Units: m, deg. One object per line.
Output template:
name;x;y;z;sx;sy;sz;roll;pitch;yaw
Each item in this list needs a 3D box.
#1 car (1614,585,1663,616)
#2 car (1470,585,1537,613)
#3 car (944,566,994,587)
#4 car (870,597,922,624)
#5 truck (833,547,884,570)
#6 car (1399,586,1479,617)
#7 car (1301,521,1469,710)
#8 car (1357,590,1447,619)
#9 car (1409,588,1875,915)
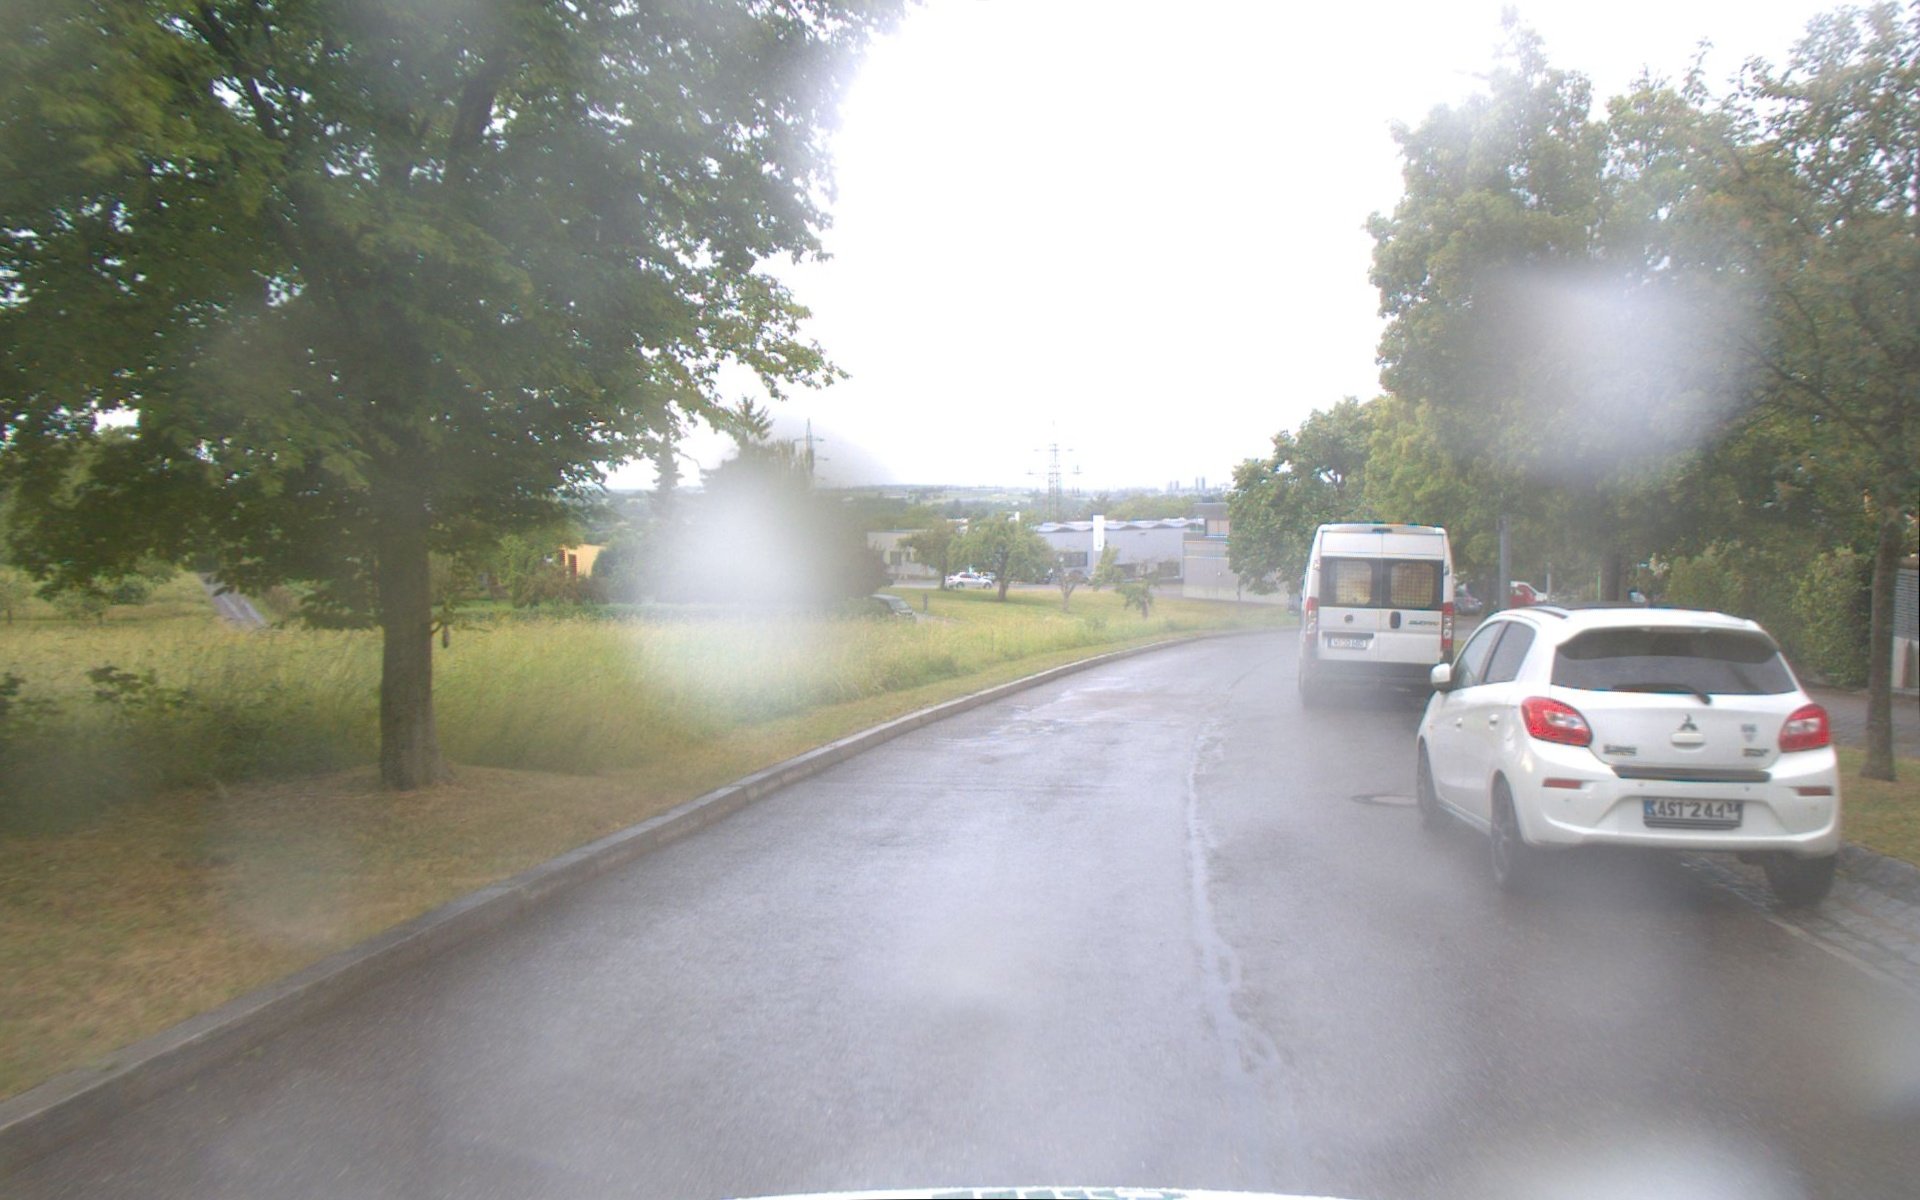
car;38.356;0.033;93.448;1.659;1.578;3.681;2;3;38
car;32.354;-0.059;98.510;3.495;1.634;1.689;-1;0;30
car;0.838;-2.214;153.960;4.209;1.731;1.783;2;3;-26
car;-4.265;0.672;109.172;1.758;1.624;3.958;-1;2;-31
truck;-11.509;-4.684;188.190;5.245;2.348;2.416;1;3;-26
car;25.282;0.089;87.282;3.794;1.574;1.771;1;1;27
car;6.285;0.183;25.033;2.072;2.510;5.515;1;0;11
car;21.482;0.220;80.322;3.910;1.384;1.852;-1;0;27
car;3.767;0.715;9.795;1.571;1.529;3.729;1;0;6
